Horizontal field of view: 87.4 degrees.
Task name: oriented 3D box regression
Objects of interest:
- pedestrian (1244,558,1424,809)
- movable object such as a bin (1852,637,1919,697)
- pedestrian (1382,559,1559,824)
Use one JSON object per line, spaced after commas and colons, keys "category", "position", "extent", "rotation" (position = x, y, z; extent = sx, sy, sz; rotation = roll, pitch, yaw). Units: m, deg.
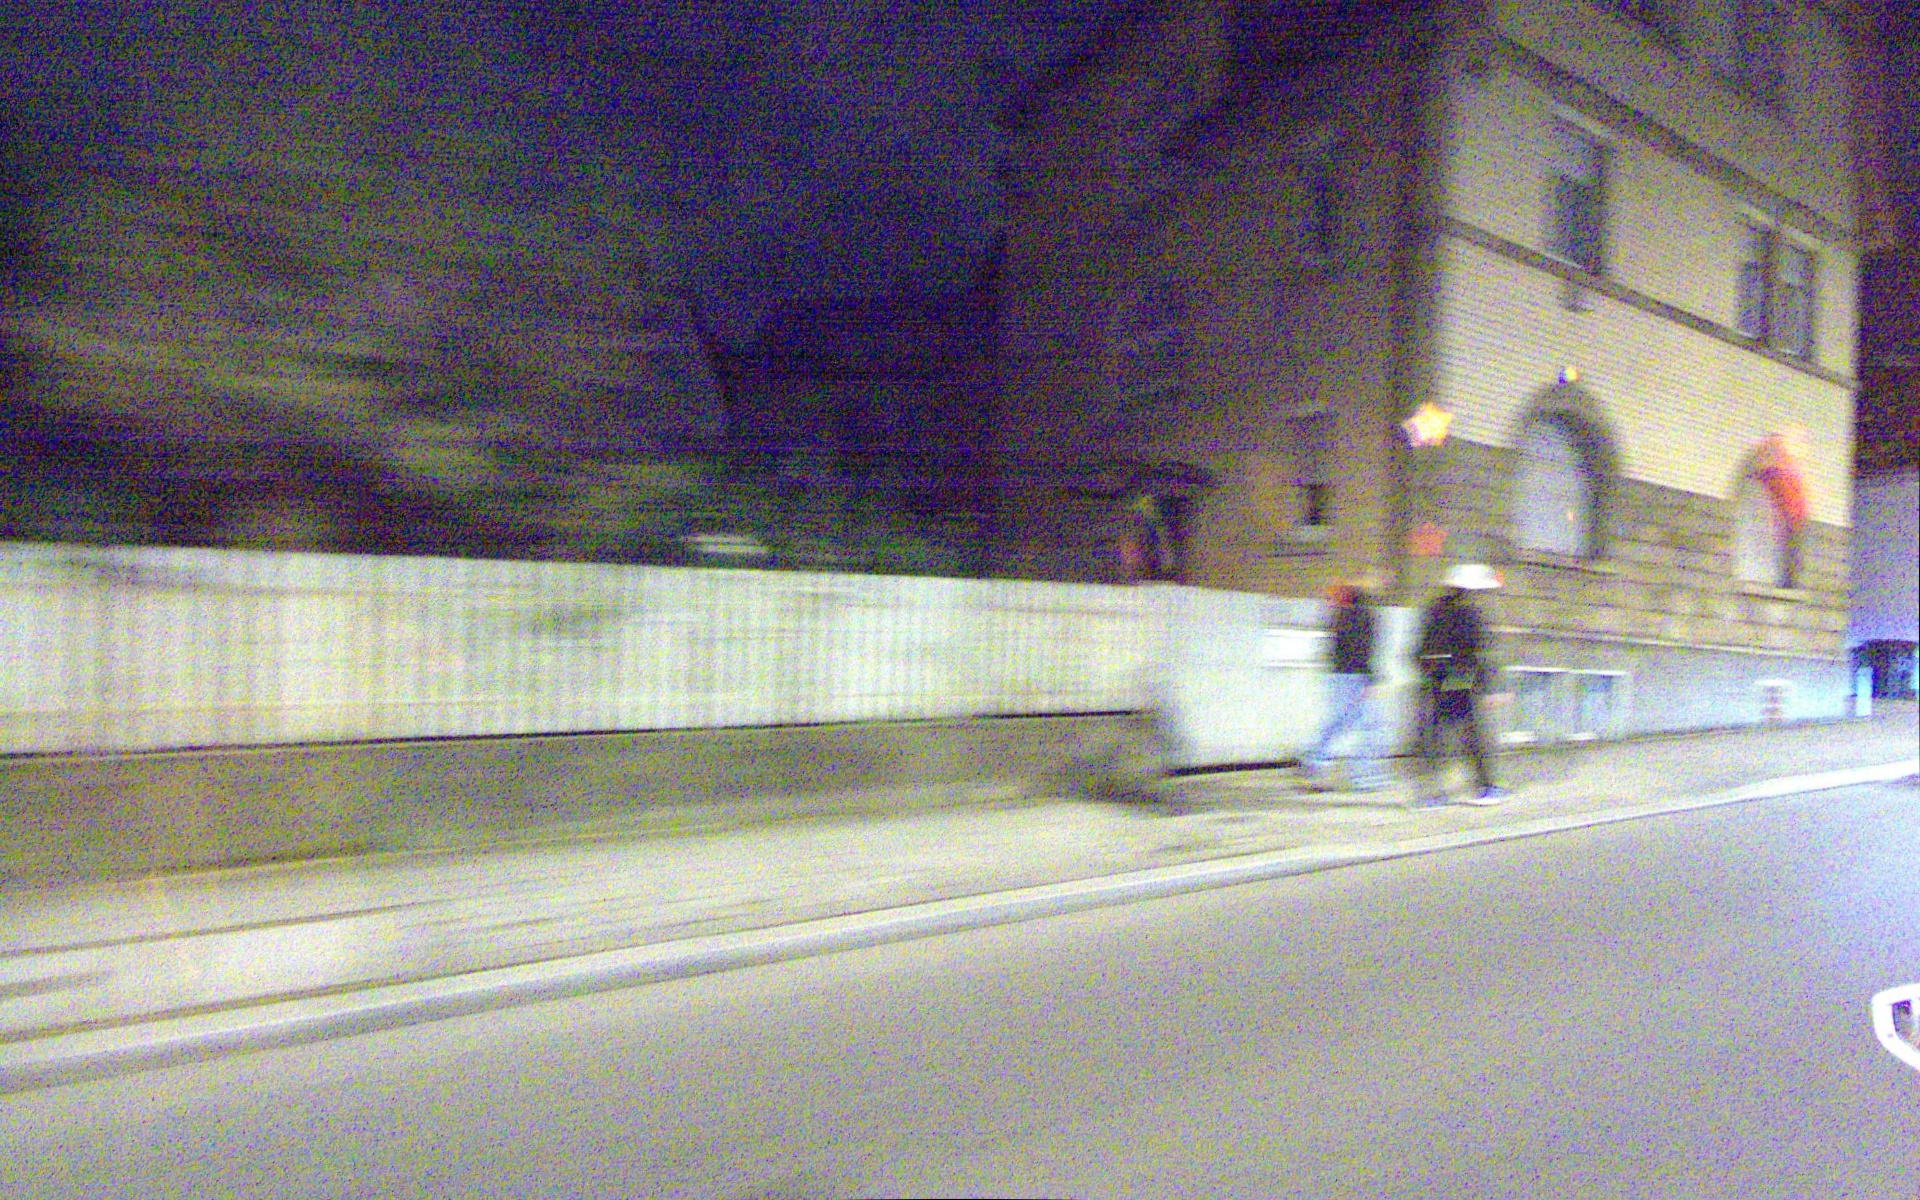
{"category": "pedestrian", "position": [2.855, 0.602, 7.674], "extent": [1.090, 1.768, 0.738], "rotation": [1, 0, -30]}
{"category": "movable object such as a bin", "position": [17.102, 1.228, 18.568], "extent": [0.643, 1.063, 0.639], "rotation": [1, 0, -11]}
{"category": "pedestrian", "position": [3.687, 0.620, 7.259], "extent": [1.017, 1.768, 0.672], "rotation": [1, 0, -30]}
